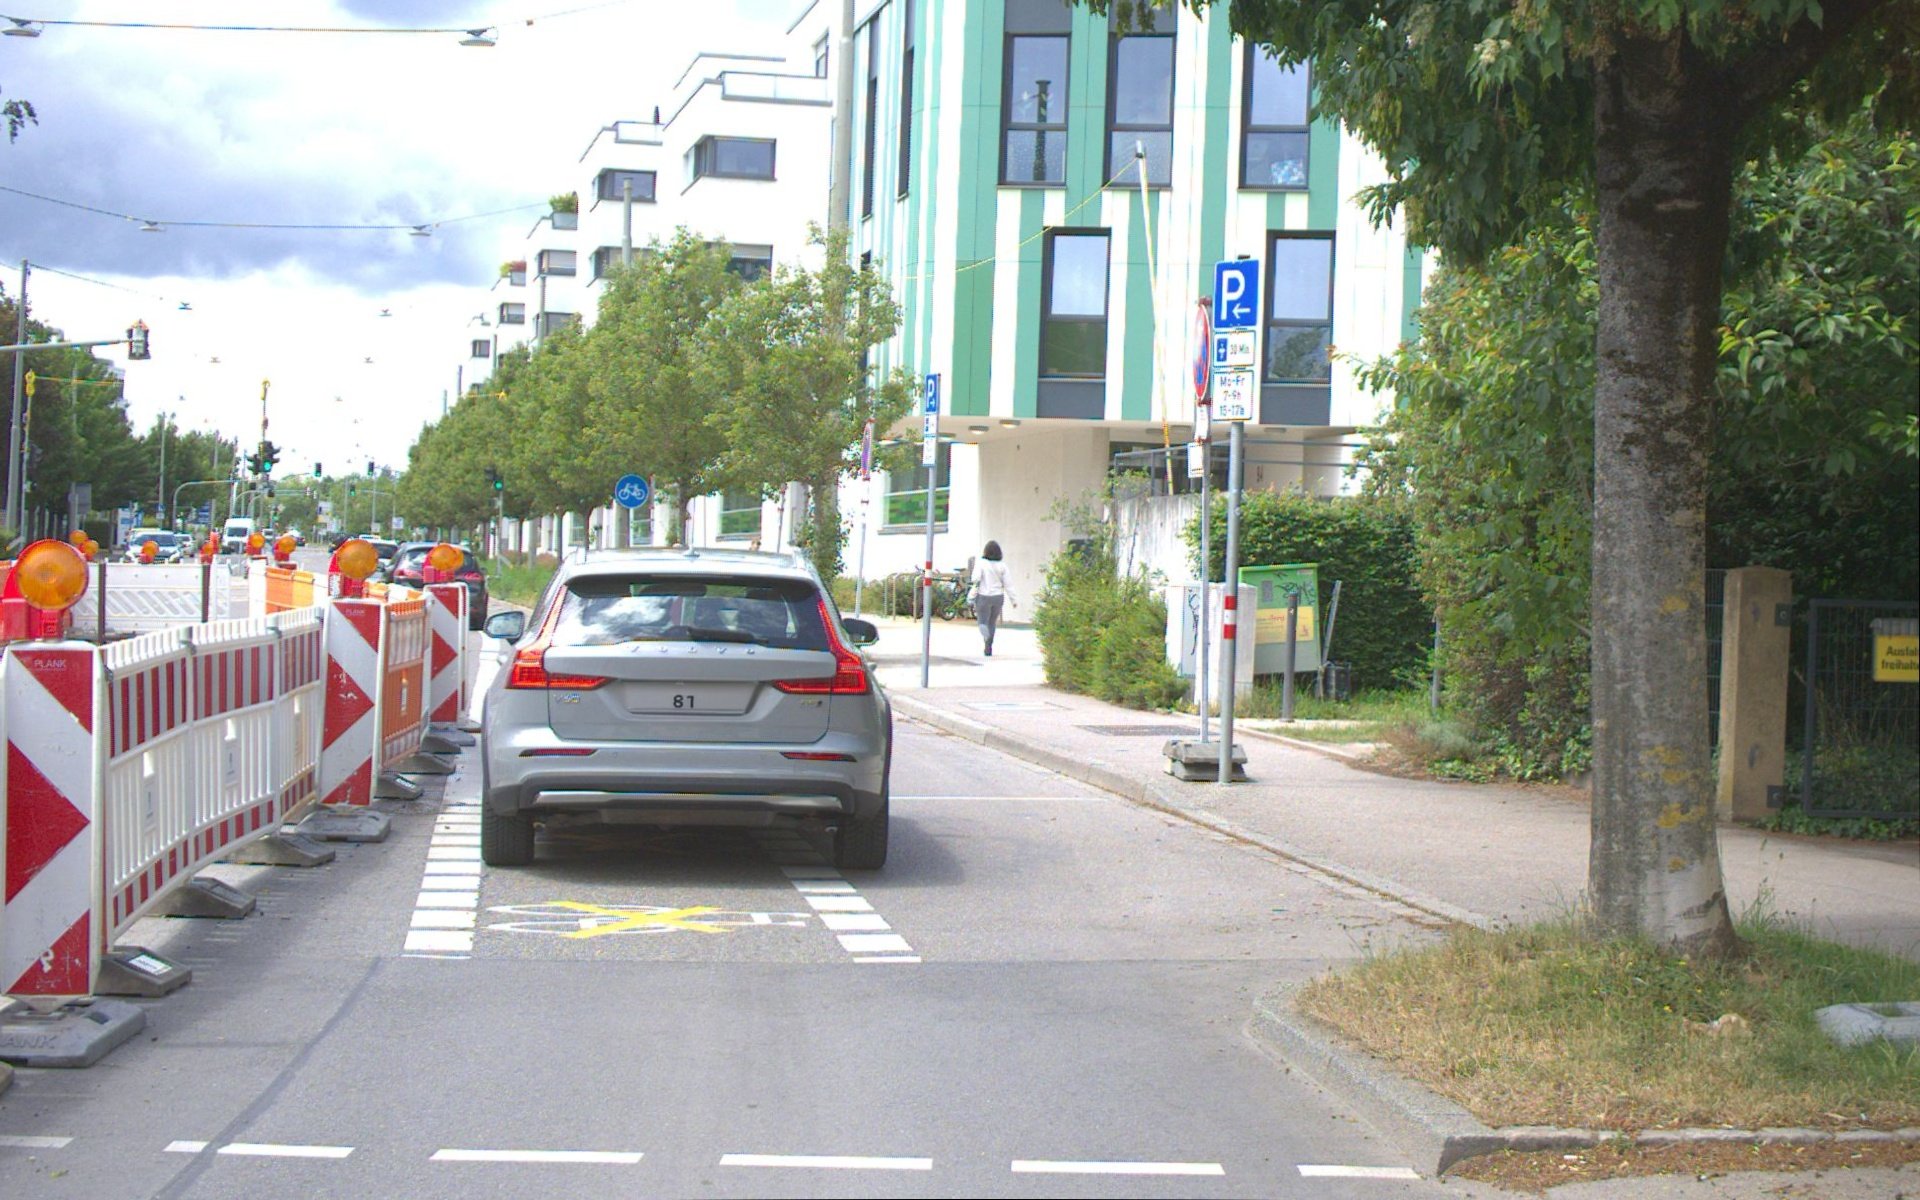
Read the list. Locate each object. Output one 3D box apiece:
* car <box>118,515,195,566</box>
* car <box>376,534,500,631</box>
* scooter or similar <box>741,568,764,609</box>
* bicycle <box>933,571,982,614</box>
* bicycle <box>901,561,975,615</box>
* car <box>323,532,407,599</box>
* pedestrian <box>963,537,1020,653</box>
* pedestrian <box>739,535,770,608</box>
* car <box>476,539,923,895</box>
[{"bbox_3d":[-24.847,-1.848,106.389,1.854,1.508,4.001,1,1,-7],"label":"car"},{"bbox_3d":[-9.025,-0.328,59.245,1.854,1.508,4.001,3,1,-12],"label":"car"},{"bbox_3d":[-4.686,-0.266,77.586,0.421,0.902,0.682,1,1,-11],"label":"scooter or similar"},{"bbox_3d":[-0.049,-0.150,67.487,1.022,0.839,0.307,0,1,-43],"label":"bicycle"},{"bbox_3d":[-0.437,-0.237,68.511,1.464,1.042,0.307,1,1,-23],"label":"bicycle"},{"bbox_3d":[-14.649,-0.863,84.454,1.844,1.508,4.001,3,1,-12],"label":"car"},{"bbox_3d":[0.423,-0.073,46.535,0.580,1.546,0.869,1,1,-11],"label":"pedestrian"},{"bbox_3d":[-4.665,-0.648,78.042,0.605,1.649,0.552,1,1,-11],"label":"pedestrian"},{"bbox_3d":[-1.393,0.476,16.788,1.854,1.508,4.001,1,1,-9],"label":"car"}]
